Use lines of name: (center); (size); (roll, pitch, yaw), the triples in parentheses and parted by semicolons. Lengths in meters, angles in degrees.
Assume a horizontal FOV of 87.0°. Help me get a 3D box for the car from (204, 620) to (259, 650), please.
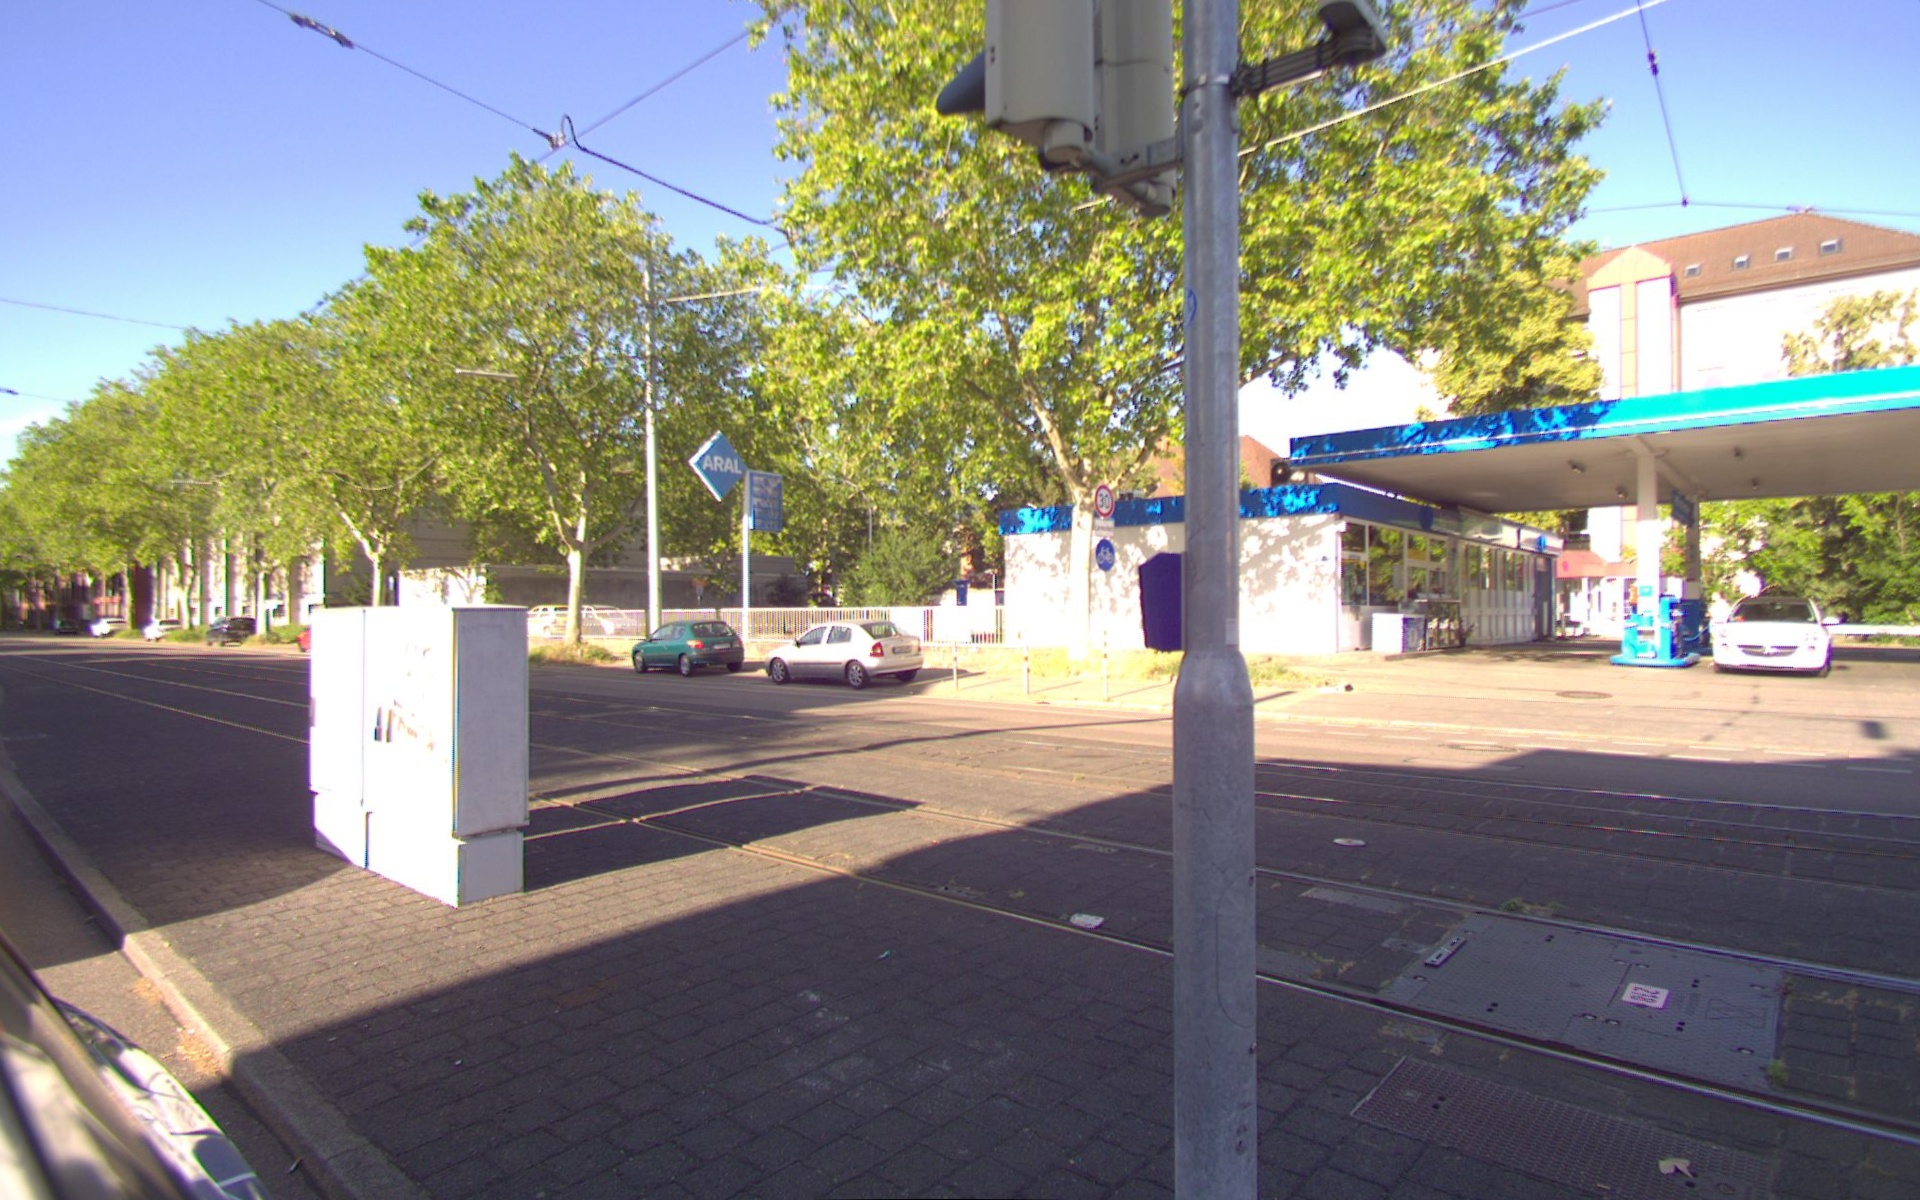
car: (-40.672, 1.944, 56.488); (3.858, 1.557, 1.735); (-1, 0, 43)

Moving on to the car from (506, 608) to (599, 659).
car: (-17.041, 1.384, 42.265); (3.996, 2.029, 1.974); (-1, -1, 39)

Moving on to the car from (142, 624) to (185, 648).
car: (-53.635, 2.387, 68.124); (3.858, 1.495, 1.735); (-1, 0, 43)

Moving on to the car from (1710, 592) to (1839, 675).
car: (15.944, 0.607, 19.785); (1.793, 1.453, 3.946); (-1, -1, 40)

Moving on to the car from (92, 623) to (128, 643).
car: (-66.923, 2.566, 79.643); (3.858, 1.495, 1.735); (-1, 0, 43)

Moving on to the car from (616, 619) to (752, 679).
car: (-7.430, 1.267, 27.079); (3.858, 1.408, 1.722); (-1, 1, 43)

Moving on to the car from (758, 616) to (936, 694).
car: (-2.570, 1.160, 22.599); (3.857, 1.497, 1.823); (-1, 1, 42)

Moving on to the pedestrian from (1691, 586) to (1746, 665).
pedestrian: (16.242, 0.546, 21.676); (0.637, 1.642, 0.814); (1, -2, -42)

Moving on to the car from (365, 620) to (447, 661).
car: (-21.981, 1.579, 40.093); (3.858, 1.468, 1.735); (-1, 0, 43)

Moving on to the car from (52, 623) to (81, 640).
car: (-84.870, 2.997, 96.118); (3.858, 1.495, 1.735); (-1, 0, 43)

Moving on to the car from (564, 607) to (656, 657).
car: (-15.142, 1.354, 43.693); (3.996, 2.029, 1.974); (-1, -1, 39)

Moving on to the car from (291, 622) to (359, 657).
car: (-28.908, 1.764, 46.048); (3.858, 1.440, 1.695); (-1, 0, 43)
